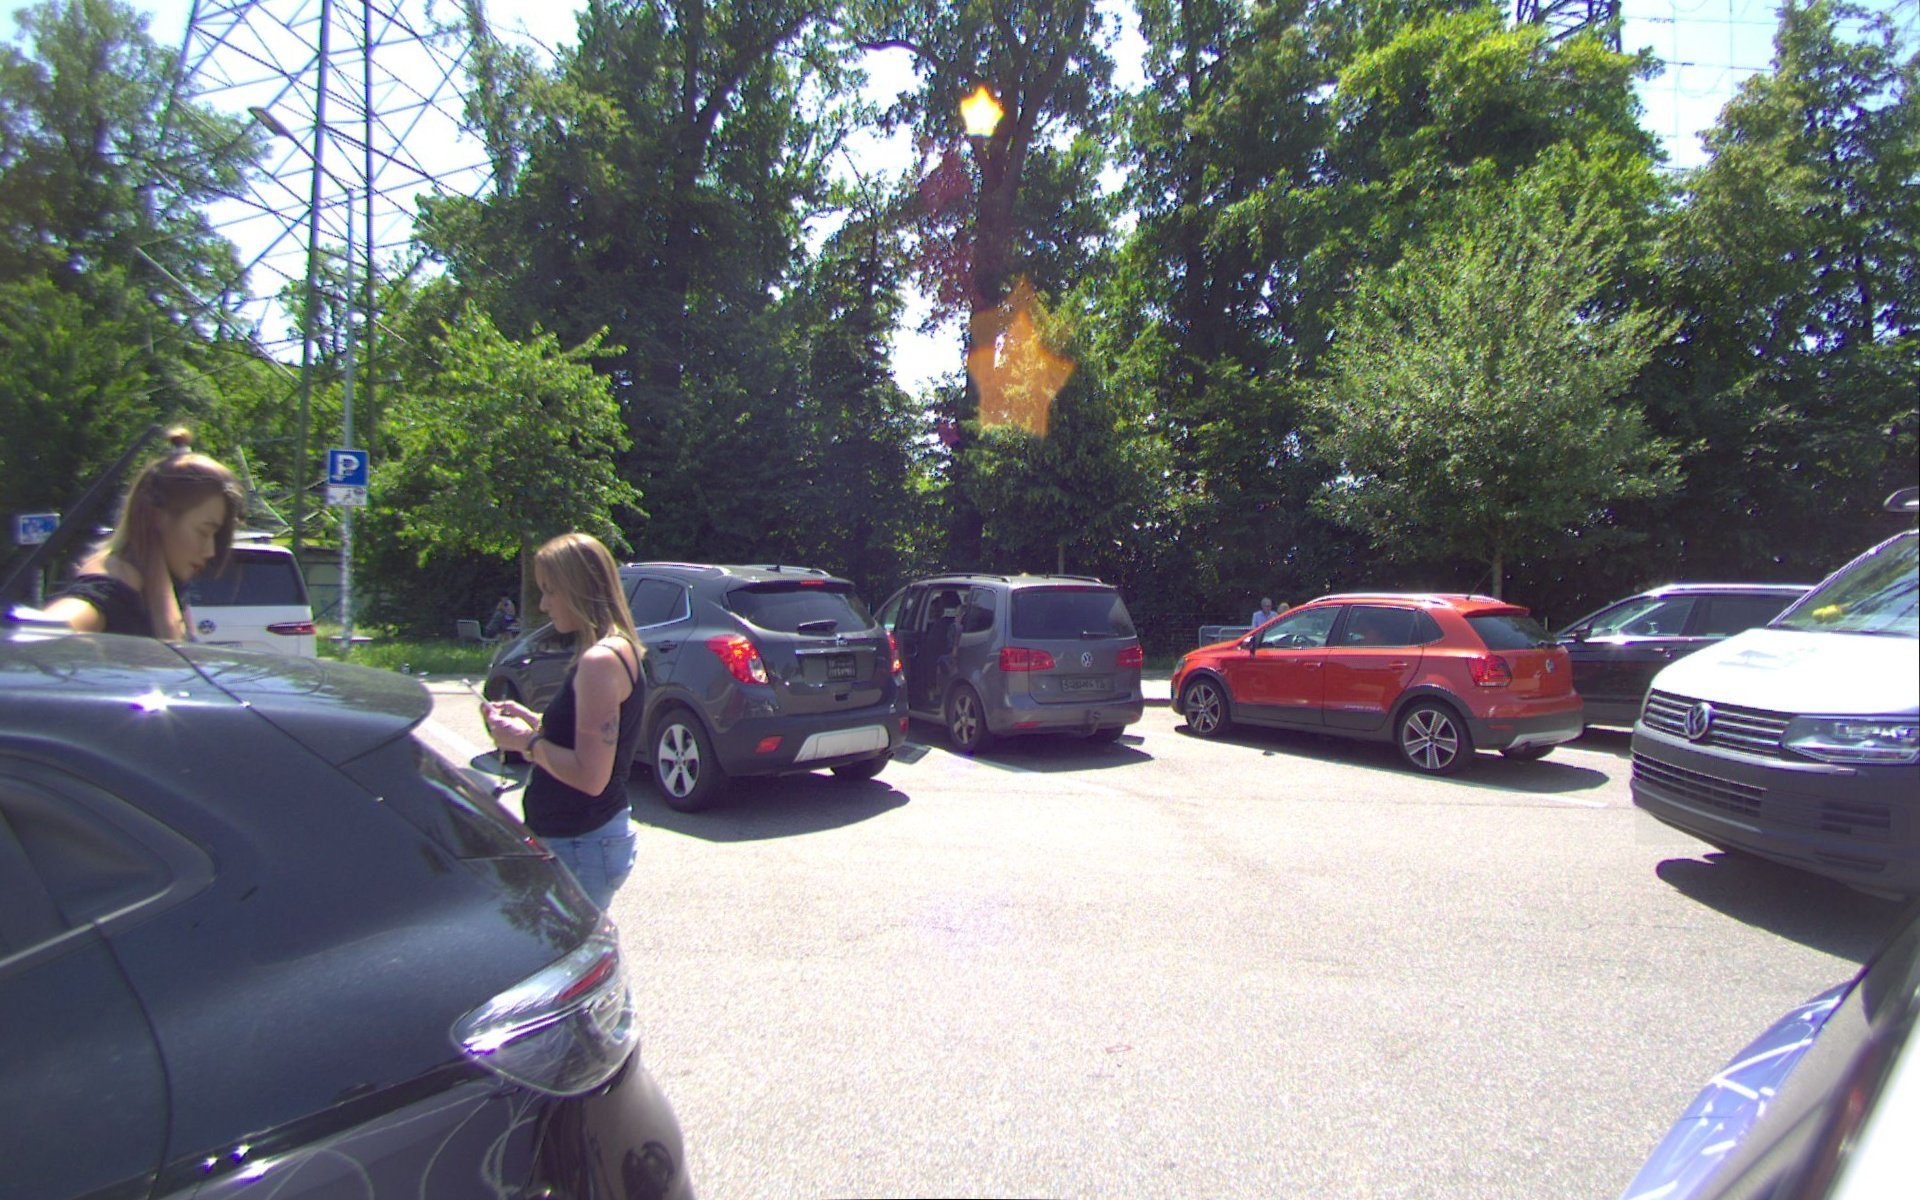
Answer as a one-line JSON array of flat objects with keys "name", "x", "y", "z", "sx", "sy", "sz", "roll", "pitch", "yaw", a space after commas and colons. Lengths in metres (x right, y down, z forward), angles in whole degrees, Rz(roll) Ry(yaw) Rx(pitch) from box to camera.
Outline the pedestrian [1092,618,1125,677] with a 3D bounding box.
[{"name": "pedestrian", "x": 2.316, "y": 0.731, "z": 15.781, "sx": 0.494, "sy": 0.890, "sz": 0.512, "roll": 1, "pitch": -1, "yaw": 10}]

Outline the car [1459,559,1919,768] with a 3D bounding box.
[{"name": "car", "x": 7.123, "y": 0.494, "z": 9.712, "sx": 1.679, "sy": 1.637, "sz": 3.863, "roll": 1, "pitch": 0, "yaw": -40}]

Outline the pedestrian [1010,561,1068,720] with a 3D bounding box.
[{"name": "pedestrian", "x": 0.886, "y": 0.440, "z": 11.438, "sx": 0.500, "sy": 1.744, "sz": 0.438, "roll": 0, "pitch": 0, "yaw": -24}]

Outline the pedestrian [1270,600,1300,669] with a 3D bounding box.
[{"name": "pedestrian", "x": 5.759, "y": 0.605, "z": 17.933, "sx": 0.348, "sy": 1.207, "sz": 0.367, "roll": 0, "pitch": 0, "yaw": -20}]

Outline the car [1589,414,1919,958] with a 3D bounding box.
[{"name": "car", "x": 6.236, "y": 0.355, "z": 4.691, "sx": 5.336, "sy": 2.131, "sz": 1.842, "roll": 1, "pitch": 1, "yaw": 4}]

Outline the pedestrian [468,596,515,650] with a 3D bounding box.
[{"name": "pedestrian", "x": -10.512, "y": 0.503, "z": 22.691, "sx": 0.785, "sy": 1.178, "sz": 0.696, "roll": 0, "pitch": 0, "yaw": 39}]

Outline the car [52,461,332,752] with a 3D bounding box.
[{"name": "car", "x": -8.380, "y": 0.041, "z": 10.826, "sx": 1.897, "sy": 2.400, "sz": 4.963, "roll": 1, "pitch": -1, "yaw": -43}]

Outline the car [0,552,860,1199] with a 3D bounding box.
[{"name": "car", "x": -2.035, "y": 0.706, "z": 0.793, "sx": 1.777, "sy": 1.476, "sz": 3.627, "roll": 0, "pitch": 0, "yaw": 45}]

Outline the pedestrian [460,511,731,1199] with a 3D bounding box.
[{"name": "pedestrian", "x": -0.938, "y": 0.608, "z": 2.605, "sx": 0.477, "sy": 1.614, "sz": 0.502, "roll": 1, "pitch": -1, "yaw": -44}]

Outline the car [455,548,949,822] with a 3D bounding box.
[{"name": "car", "x": -2.231, "y": 0.498, "z": 8.119, "sx": 4.150, "sy": 1.637, "sz": 1.811, "roll": 1, "pitch": 0, "yaw": 41}]

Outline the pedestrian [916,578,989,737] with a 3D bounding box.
[{"name": "pedestrian", "x": -0.074, "y": 0.546, "z": 10.046, "sx": 0.511, "sy": 1.516, "sz": 0.560, "roll": 0, "pitch": 0, "yaw": -30}]

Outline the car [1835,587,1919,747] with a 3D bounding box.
[{"name": "car", "x": 10.341, "y": 0.638, "z": 8.852, "sx": 1.813, "sy": 1.473, "sz": 3.776, "roll": 1, "pitch": 0, "yaw": -36}]

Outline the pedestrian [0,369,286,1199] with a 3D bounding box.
[{"name": "pedestrian", "x": -1.912, "y": 0.502, "z": 2.398, "sx": 0.478, "sy": 1.883, "sz": 0.913, "roll": 1, "pitch": -1, "yaw": -33}]

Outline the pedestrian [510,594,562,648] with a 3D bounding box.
[{"name": "pedestrian", "x": -9.779, "y": 0.472, "z": 23.353, "sx": 0.810, "sy": 1.201, "sz": 0.836, "roll": 0, "pitch": 0, "yaw": 40}]

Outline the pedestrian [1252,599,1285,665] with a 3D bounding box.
[{"name": "pedestrian", "x": 5.808, "y": 0.596, "z": 19.048, "sx": 0.433, "sy": 1.207, "sz": 0.414, "roll": 0, "pitch": 0, "yaw": -30}]

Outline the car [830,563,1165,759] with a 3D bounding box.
[{"name": "car", "x": 0.179, "y": 0.497, "z": 10.557, "sx": 1.670, "sy": 1.637, "sz": 3.912, "roll": 0, "pitch": 0, "yaw": -30}]

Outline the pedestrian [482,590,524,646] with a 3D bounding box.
[{"name": "pedestrian", "x": -11.056, "y": 0.422, "z": 24.502, "sx": 0.539, "sy": 1.318, "sz": 0.758, "roll": 0, "pitch": 0, "yaw": 37}]

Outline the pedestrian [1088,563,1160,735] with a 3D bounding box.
[{"name": "pedestrian", "x": 1.711, "y": 0.490, "z": 10.583, "sx": 0.576, "sy": 1.744, "sz": 0.483, "roll": 0, "pitch": 0, "yaw": -20}]

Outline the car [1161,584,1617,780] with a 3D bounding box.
[{"name": "car", "x": 3.845, "y": 0.618, "z": 9.656, "sx": 1.588, "sy": 1.485, "sz": 3.751, "roll": 1, "pitch": 0, "yaw": -34}]
